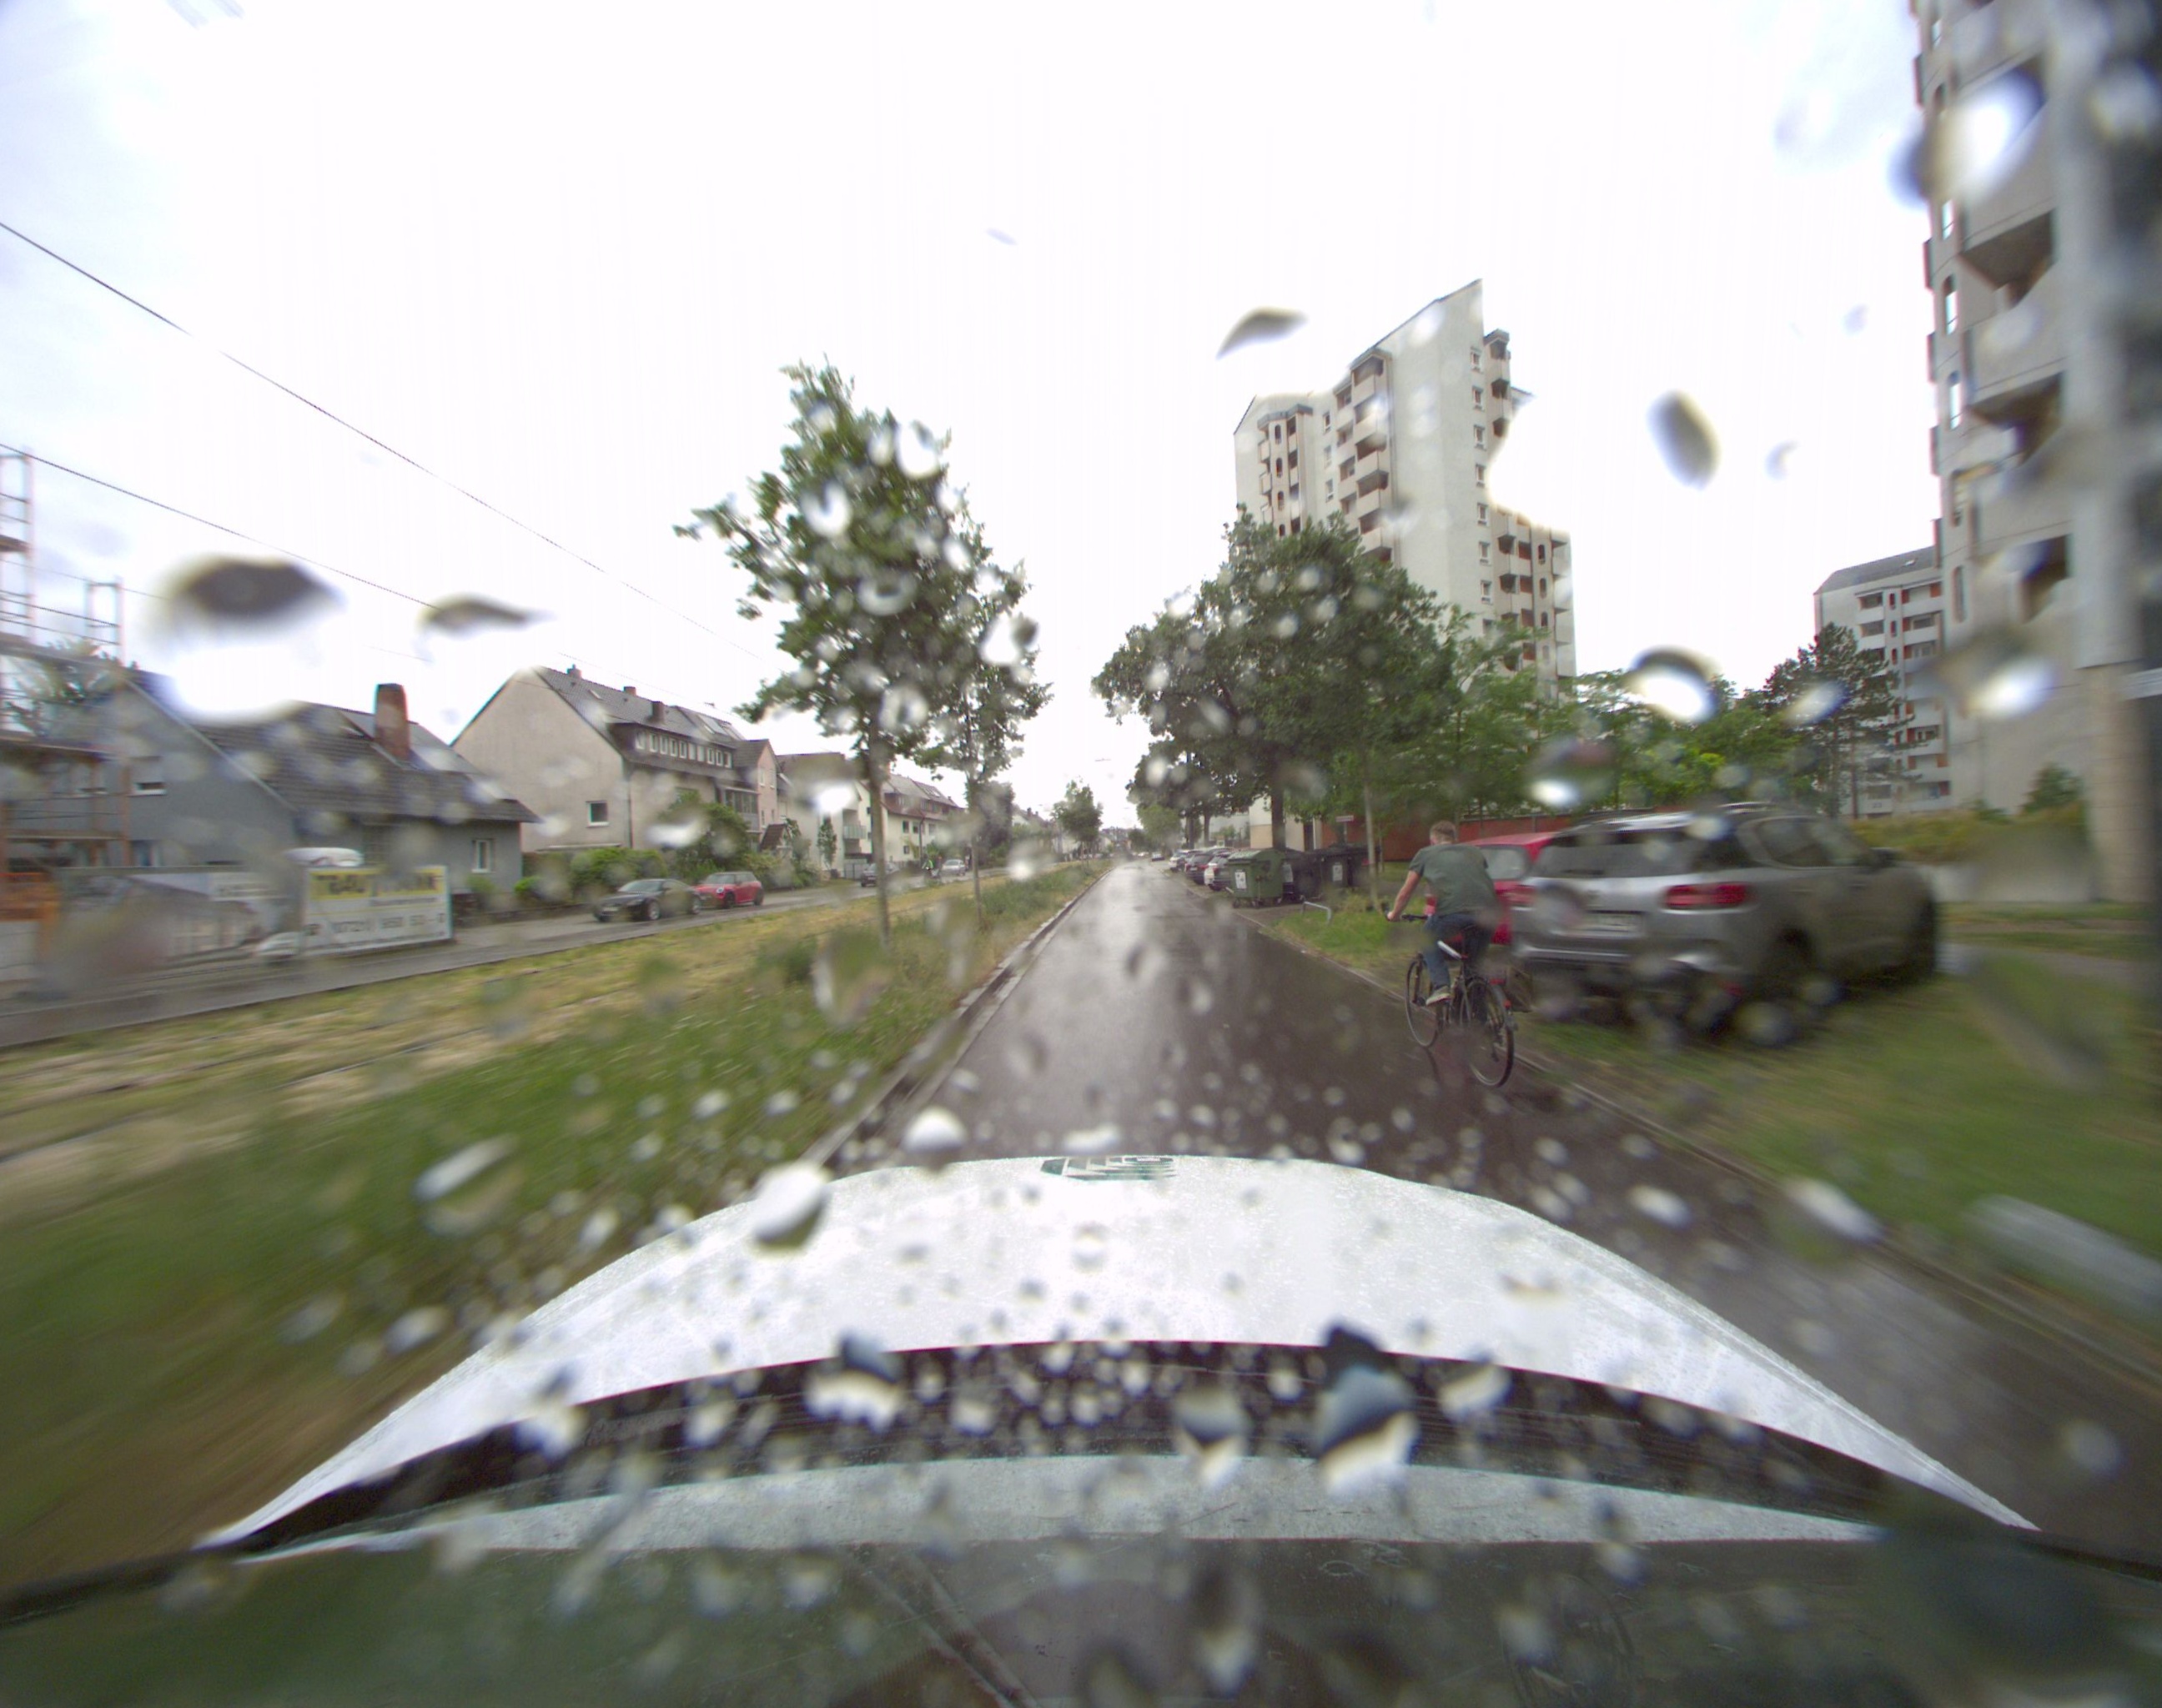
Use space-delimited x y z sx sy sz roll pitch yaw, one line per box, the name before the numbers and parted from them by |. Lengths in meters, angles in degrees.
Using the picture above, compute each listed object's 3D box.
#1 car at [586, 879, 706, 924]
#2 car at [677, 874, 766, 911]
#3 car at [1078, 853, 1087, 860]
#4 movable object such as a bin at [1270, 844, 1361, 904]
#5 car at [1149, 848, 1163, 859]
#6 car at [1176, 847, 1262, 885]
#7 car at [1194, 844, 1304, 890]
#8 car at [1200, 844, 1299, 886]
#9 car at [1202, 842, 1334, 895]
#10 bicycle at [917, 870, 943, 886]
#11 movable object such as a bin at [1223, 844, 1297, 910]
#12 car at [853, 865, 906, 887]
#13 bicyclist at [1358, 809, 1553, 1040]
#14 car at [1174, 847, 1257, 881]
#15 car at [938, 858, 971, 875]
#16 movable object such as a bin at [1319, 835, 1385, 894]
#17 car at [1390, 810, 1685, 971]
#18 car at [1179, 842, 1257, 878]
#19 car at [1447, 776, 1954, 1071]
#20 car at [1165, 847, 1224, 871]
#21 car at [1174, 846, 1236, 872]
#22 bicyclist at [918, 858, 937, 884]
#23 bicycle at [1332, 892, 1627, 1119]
car | -14.429 1.535 27.309 1.656 1.244 4.074 0 0 3
car | -14.238 1.494 32.495 1.667 1.244 3.858 0 0 3
car | 0.403 0.567 194.024 1.835 1.672 4.003 -3 0 3
movable object such as a bin | 5.990 0.494 20.873 1.686 1.326 1.392 -5 1 -19
car | 11.752 -0.052 127.789 1.825 1.586 4.003 -3 0 3
car | 6.202 0.515 36.366 4.063 1.443 1.566 -3 0 -42
car | 6.352 0.471 30.721 4.055 1.519 1.569 -3 0 -32
car | 7.033 0.447 33.841 4.055 1.519 1.569 -3 0 -32
car | 6.347 0.474 27.489 4.243 1.519 1.858 -3 0 -32
bicycle | -10.588 1.674 57.190 1.014 1.027 3.199 -3 0 3
movable object such as a bin | 4.507 0.567 20.608 1.129 1.457 1.392 -8 2 -18
car | -13.085 1.400 53.205 1.887 1.244 4.695 0 0 5
bicyclist | 2.575 0.451 5.736 0.807 1.432 1.060 -3 0 -1
car | 6.722 0.496 40.503 4.057 1.443 1.568 -3 0 -34
car | -11.599 1.088 74.888 1.887 1.469 4.695 0 0 5
movable object such as a bin | 7.461 0.288 22.435 1.250 1.520 1.080 -4 0 -25
car | 5.993 0.356 10.558 3.903 1.567 1.714 -5 1 -34
car | 7.283 0.316 43.201 4.057 1.703 1.568 -3 0 -34
car | 5.436 0.366 7.067 4.162 1.719 1.981 -6 1 -30
car | 8.064 0.346 57.746 4.057 1.513 1.568 -3 0 -34
car | 8.377 0.324 54.845 4.057 1.540 1.568 -3 0 -34
bicyclist | -10.654 1.164 56.601 1.014 1.685 1.092 -3 0 2
bicycle | 2.604 0.897 5.778 0.807 1.096 2.517 -3 0 0
